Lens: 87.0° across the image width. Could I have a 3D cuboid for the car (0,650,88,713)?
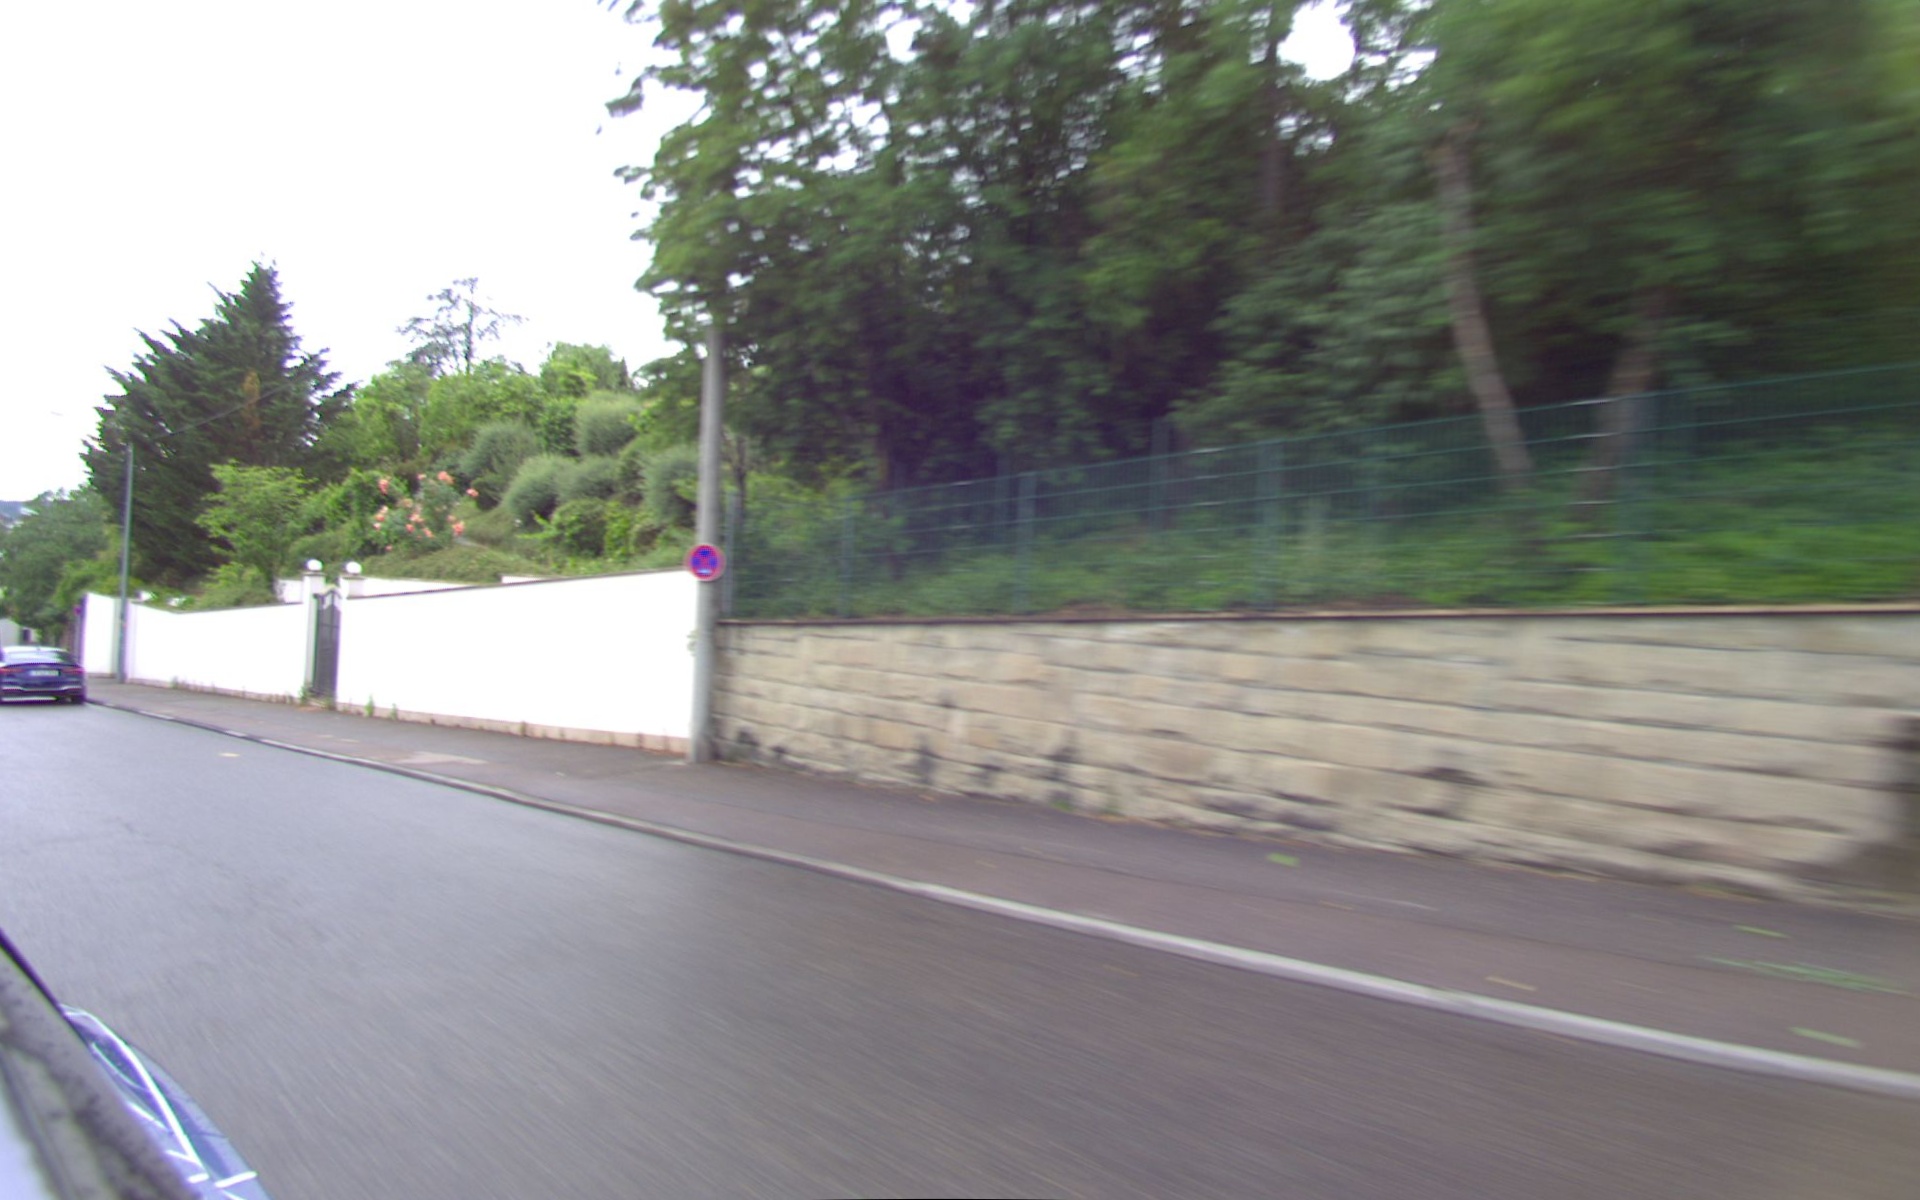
[{"bbox_3d":[-23.277,1.979,25.184,4.252,1.441,1.788,-2,-4,42],"label":"car"}]
